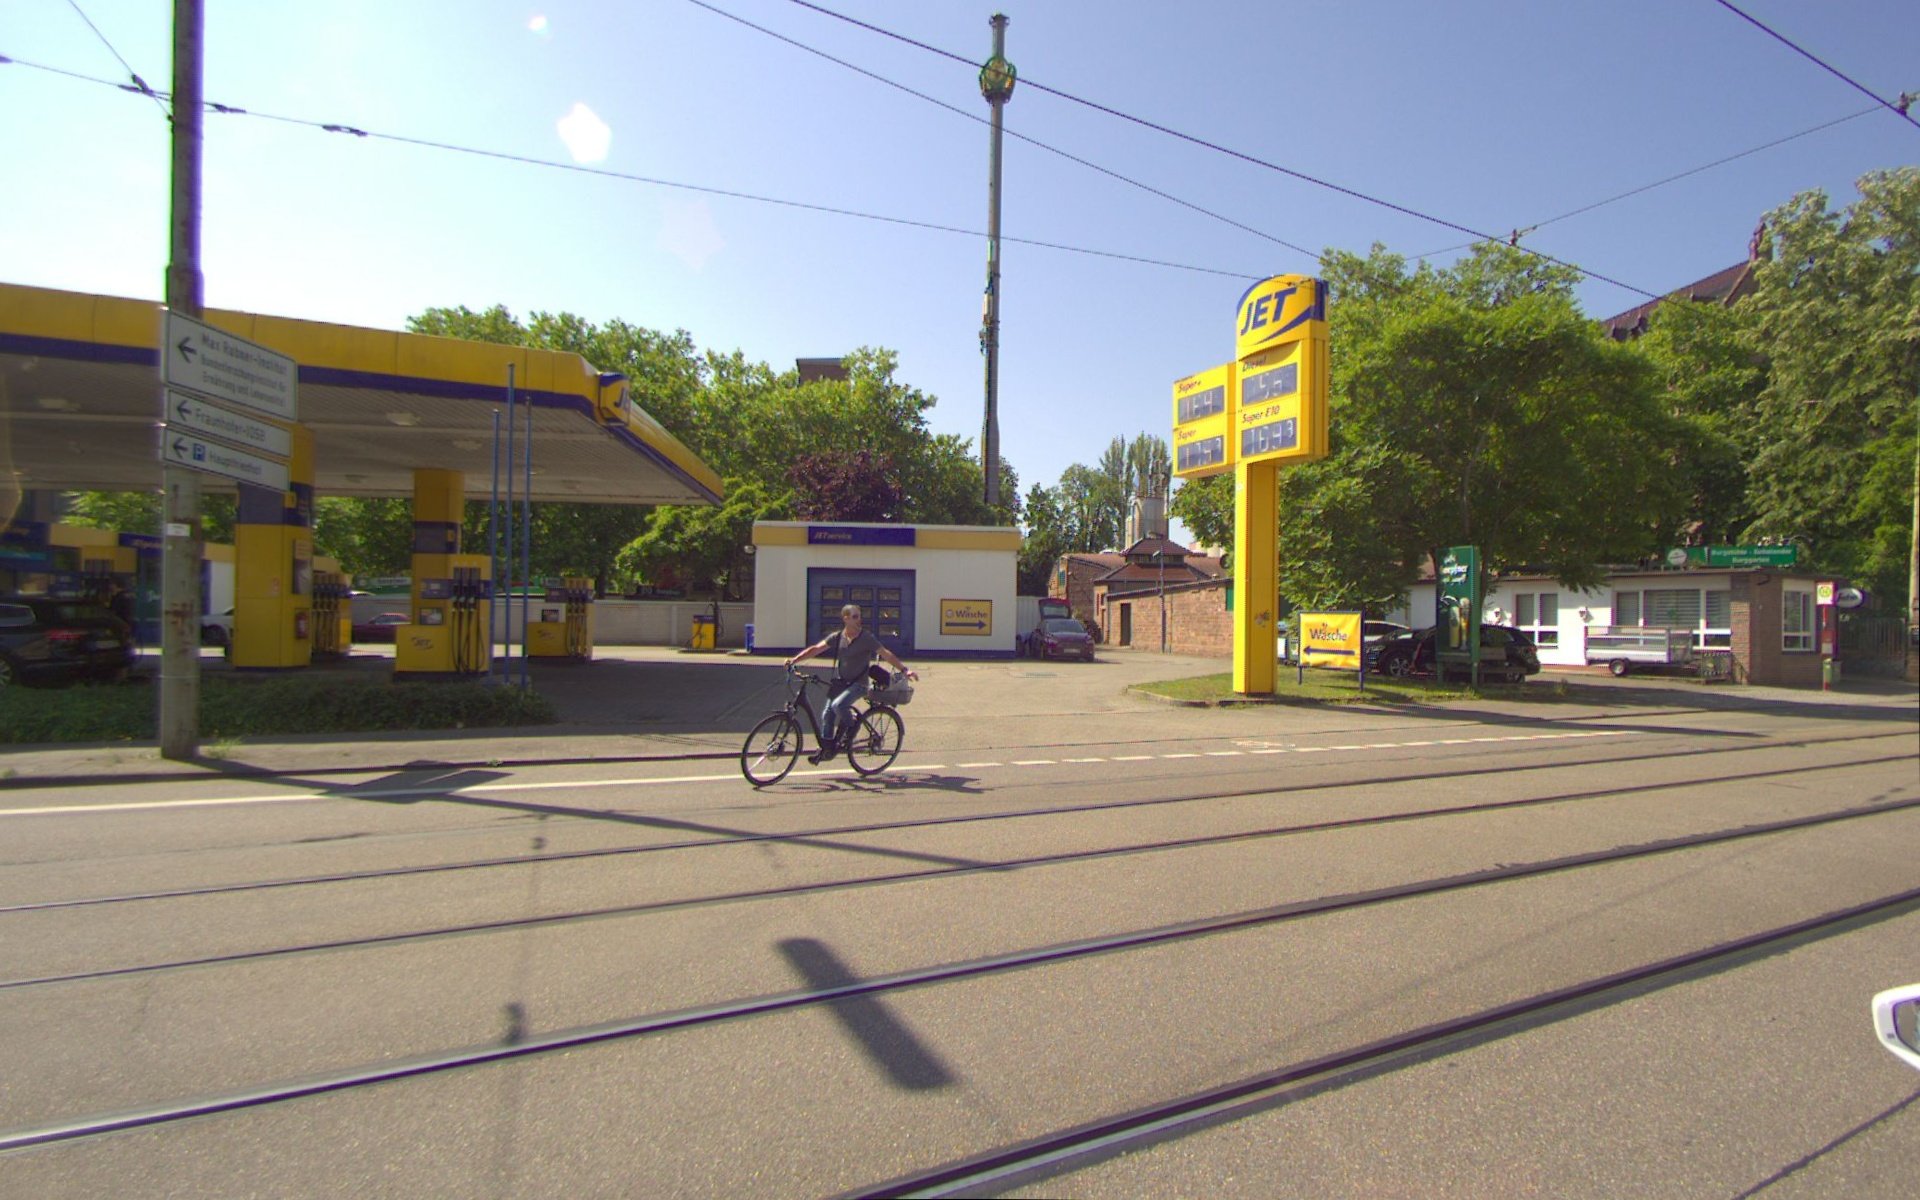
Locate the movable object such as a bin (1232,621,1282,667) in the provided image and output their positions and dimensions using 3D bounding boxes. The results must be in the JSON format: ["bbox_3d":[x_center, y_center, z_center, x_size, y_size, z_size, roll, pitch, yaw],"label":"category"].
[{"bbox_3d":[10.158,1.508,34.441,1.305,1.522,1.330,0,-3,0],"label":"movable object such as a bin"}]

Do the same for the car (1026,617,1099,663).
[{"bbox_3d":[3.562,1.378,35.717,1.856,1.479,4.554,-1,-1,-3],"label":"car"}]

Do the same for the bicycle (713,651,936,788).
[{"bbox_3d":[-1.273,1.100,9.754,2.102,1.212,0.606,2,-3,-35],"label":"bicycle"}]

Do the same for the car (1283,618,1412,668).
[{"bbox_3d":[13.202,1.436,34.473,3.919,1.578,1.848,1,-1,14],"label":"car"}]

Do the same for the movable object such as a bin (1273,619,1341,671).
[{"bbox_3d":[10.517,1.363,30.493,1.361,1.522,1.413,1,-1,-26],"label":"movable object such as a bin"}]

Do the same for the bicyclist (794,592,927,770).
[{"bbox_3d":[-0.971,0.761,9.787,0.955,1.616,0.897,2,-2,-36],"label":"bicyclist"}]

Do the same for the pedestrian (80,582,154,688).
[{"bbox_3d":[-14.378,0.586,17.148,0.735,1.748,0.853,2,-1,-26],"label":"pedestrian"}]

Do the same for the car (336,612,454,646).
[{"bbox_3d":[-24.341,1.242,43.398,4.055,1.378,1.759,1,-1,-7],"label":"car"}]

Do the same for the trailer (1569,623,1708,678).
[{"bbox_3d":[21.511,1.570,31.966,1.702,1.624,3.261,2,-1,-28],"label":"trailer"}]

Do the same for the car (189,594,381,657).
[{"bbox_3d":[-23.256,0.884,34.786,5.210,2.009,1.759,1,-1,-9],"label":"car"}]

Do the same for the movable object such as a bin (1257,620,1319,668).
[{"bbox_3d":[10.573,1.413,32.447,1.356,1.522,1.418,1,-1,-13],"label":"movable object such as a bin"}]

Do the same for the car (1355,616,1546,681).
[{"bbox_3d":[13.859,1.340,28.699,4.565,1.662,2.021,1,-1,14],"label":"car"}]

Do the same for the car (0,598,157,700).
[{"bbox_3d":[-15.628,0.728,15.848,4.326,1.475,1.759,0,2,-6],"label":"car"}]
